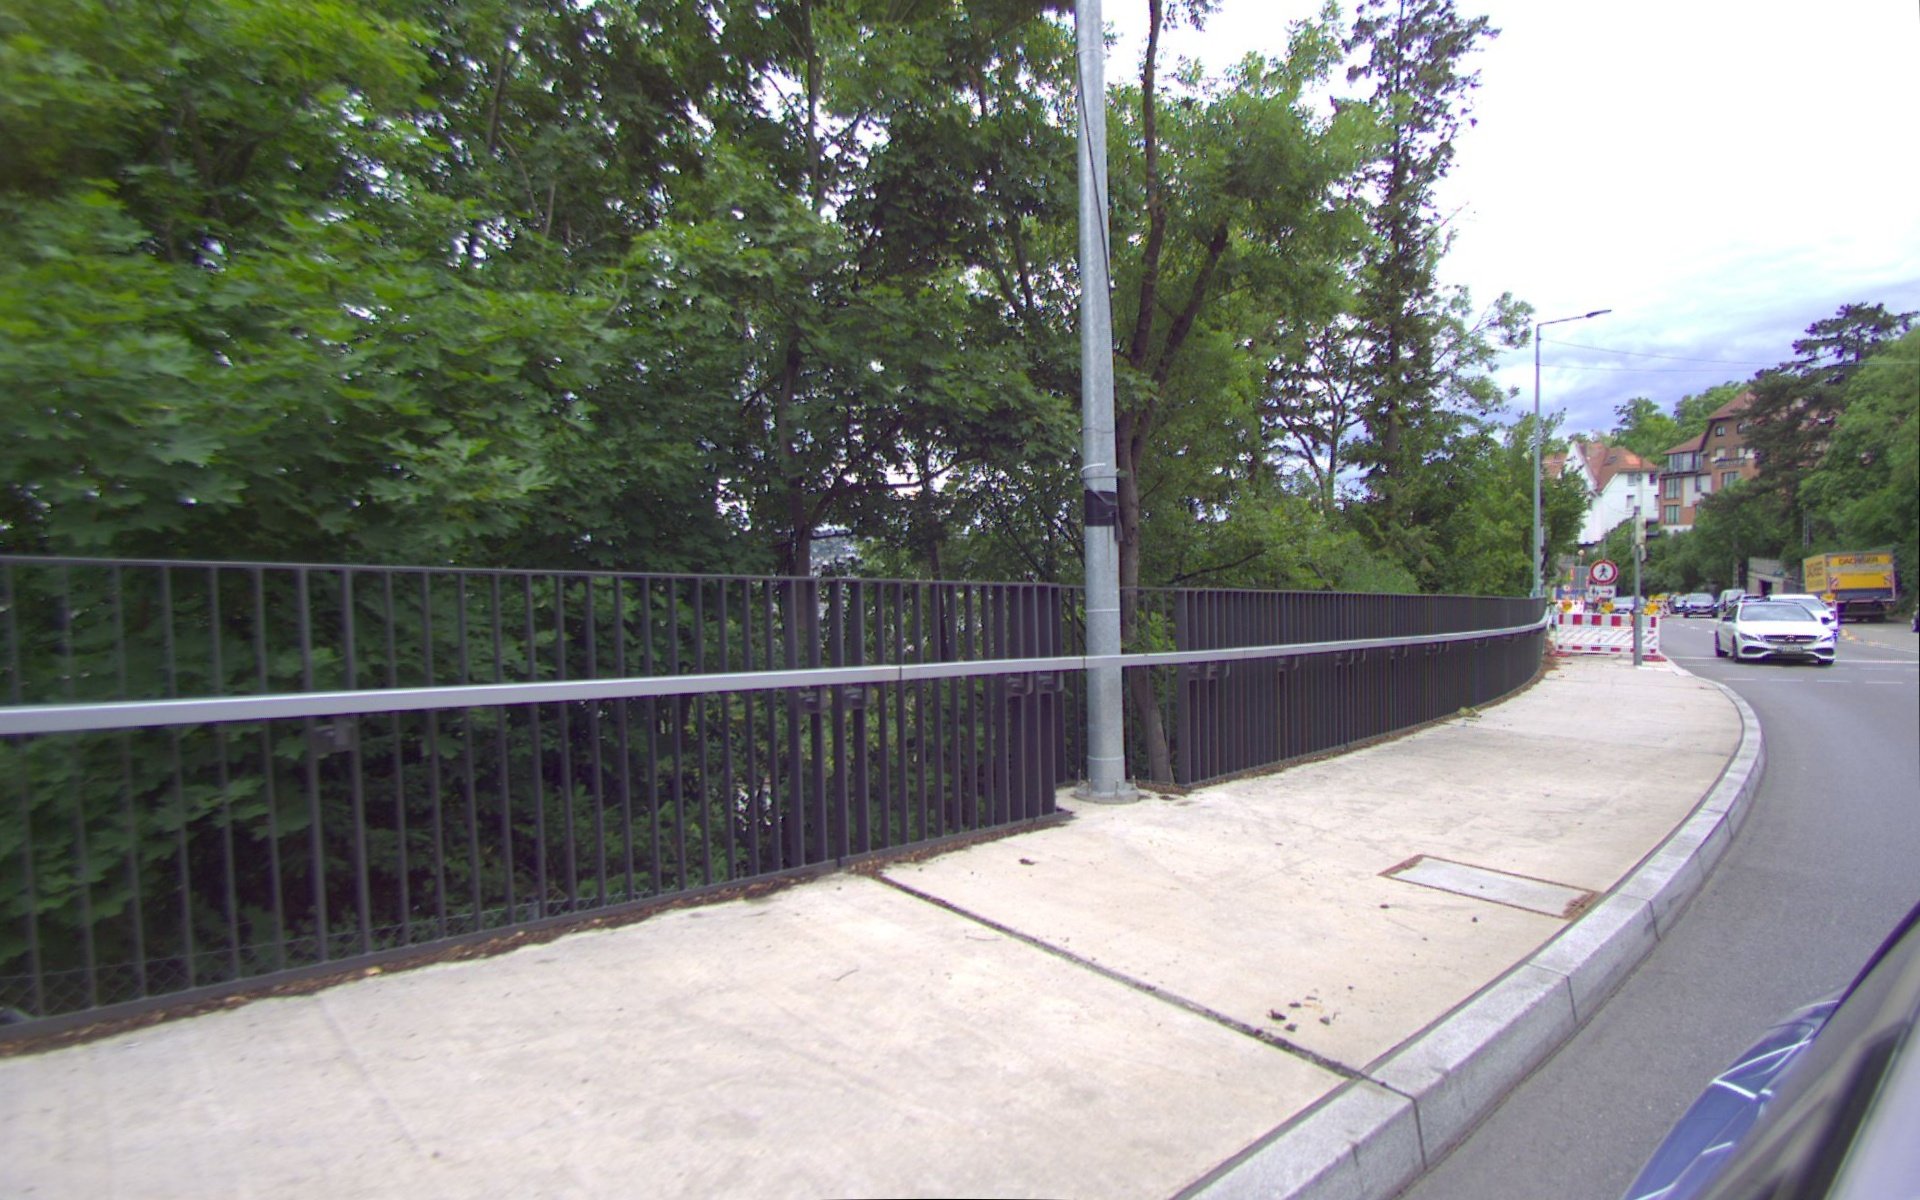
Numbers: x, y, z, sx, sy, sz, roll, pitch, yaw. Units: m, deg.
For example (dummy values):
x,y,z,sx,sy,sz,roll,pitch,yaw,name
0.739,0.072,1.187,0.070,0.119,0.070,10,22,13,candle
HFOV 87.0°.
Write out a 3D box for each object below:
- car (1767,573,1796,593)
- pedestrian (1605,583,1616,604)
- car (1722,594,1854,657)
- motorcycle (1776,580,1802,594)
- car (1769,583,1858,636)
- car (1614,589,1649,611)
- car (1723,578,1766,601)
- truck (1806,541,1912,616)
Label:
x,y,z,sx,sy,sz,roll,pitch,yaw,name
78.120,-1.636,96.237,1.560,1.623,3.553,-3,4,31,car
59.765,-0.581,92.964,0.632,1.882,0.829,2,1,20,pedestrian
19.456,0.548,23.949,1.784,1.323,4.056,-1,0,31,car
77.198,-1.238,94.247,1.832,1.197,0.629,-2,3,35,motorcycle
28.450,0.287,33.862,1.875,1.598,3.950,-3,0,35,car
47.968,0.006,72.332,1.831,1.473,4.576,-1,0,31,car
64.711,-0.858,83.517,1.790,1.813,4.304,-2,0,25,car
45.943,-1.075,51.954,2.718,3.554,7.269,-1,0,31,truck
